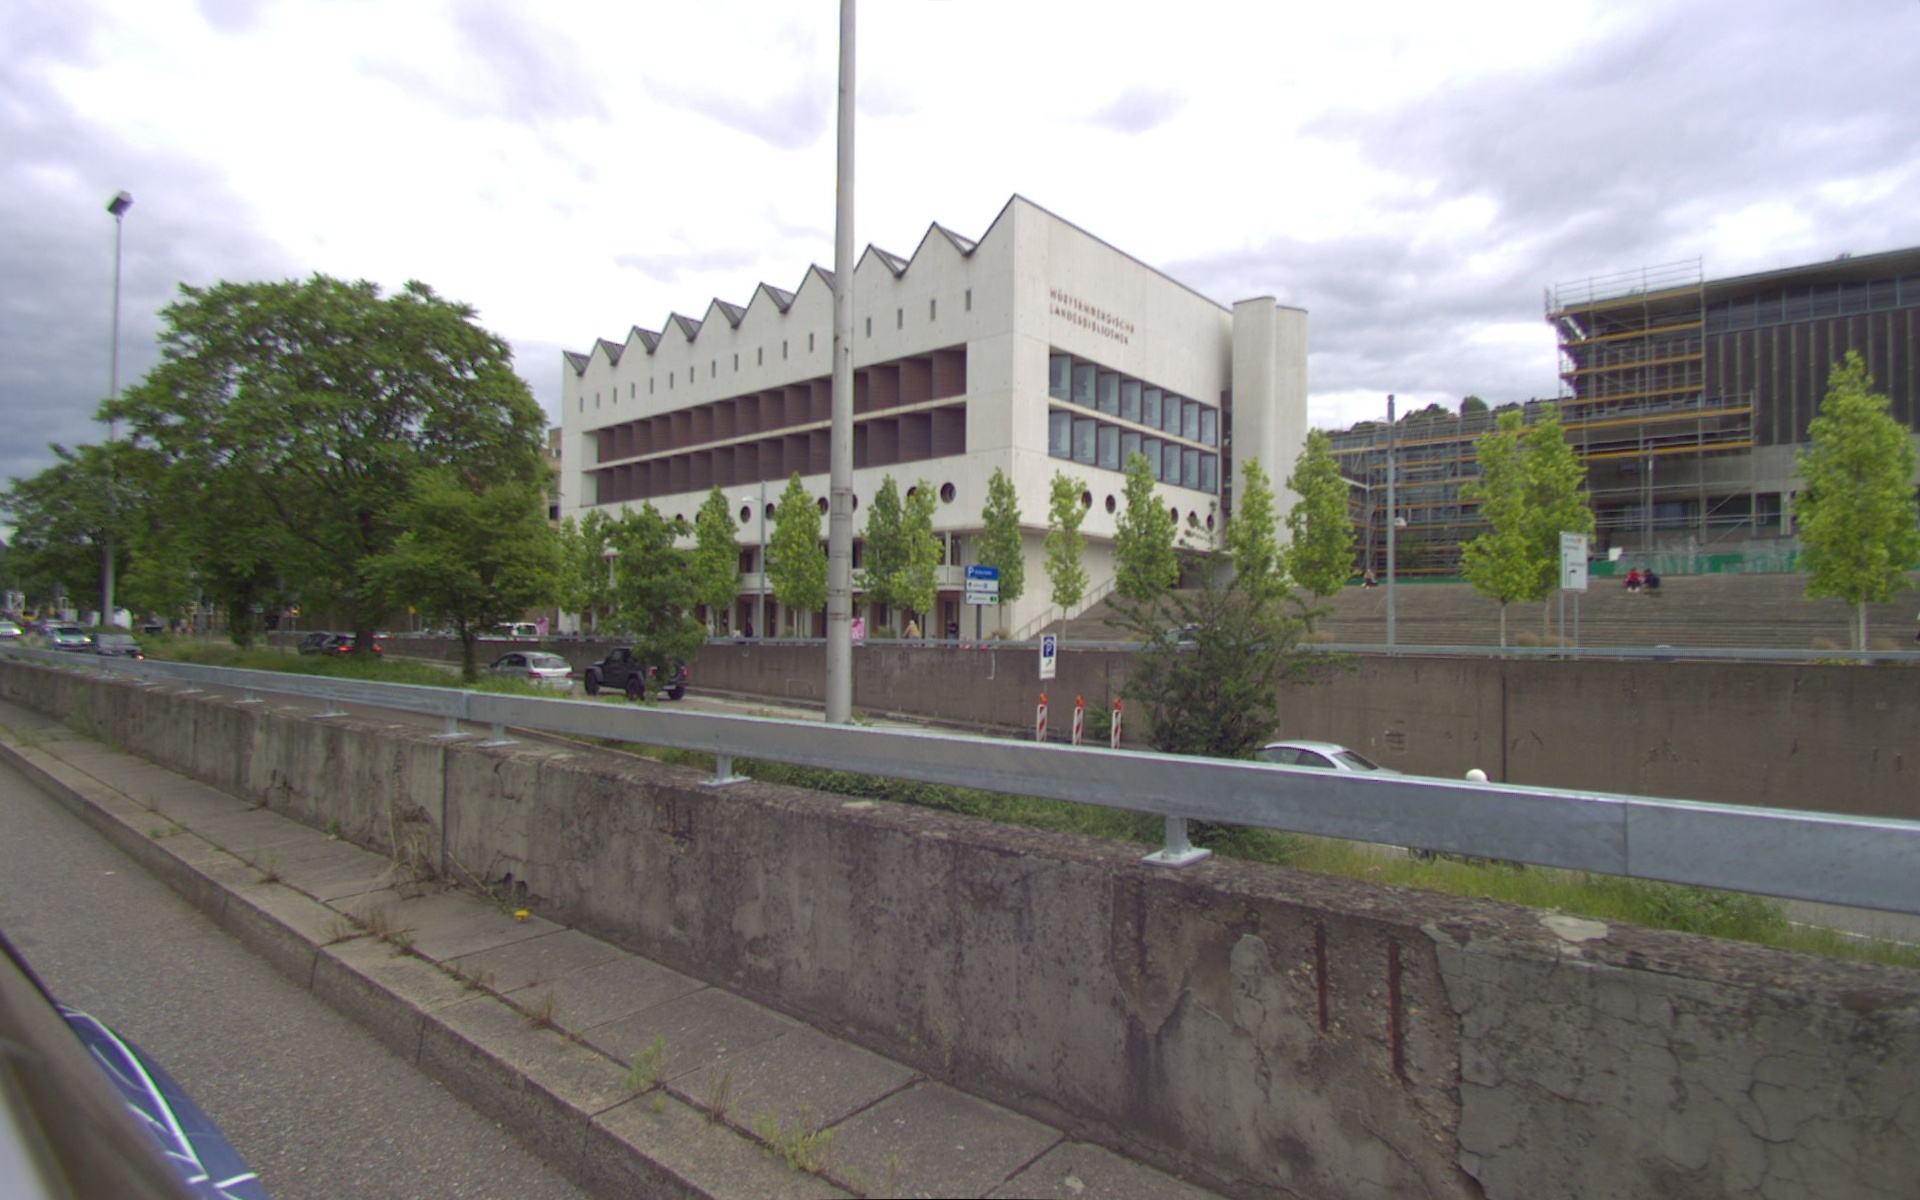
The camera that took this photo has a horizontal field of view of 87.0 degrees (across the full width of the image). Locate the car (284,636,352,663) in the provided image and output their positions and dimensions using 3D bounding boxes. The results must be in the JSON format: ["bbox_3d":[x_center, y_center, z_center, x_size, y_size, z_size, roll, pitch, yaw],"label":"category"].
[{"bbox_3d":[-35.869,2.771,56.547,3.995,1.409,1.974,-1,-5,39],"label":"car"}]

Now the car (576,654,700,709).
[{"bbox_3d":[-11.707,2.927,36.660,4.514,1.657,2.133,1,-3,40],"label":"car"}]

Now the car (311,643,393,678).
[{"bbox_3d":[-27.471,2.725,45.663,3.998,1.409,1.973,-1,-5,41],"label":"car"}]

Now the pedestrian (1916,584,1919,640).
[{"bbox_3d":[31.488,0.470,32.486,0.728,2.029,0.795,-1,-3,-14],"label":"pedestrian"}]

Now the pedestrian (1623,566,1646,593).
[{"bbox_3d":[29.081,-0.882,43.626,0.767,0.949,0.719,-3,21,35],"label":"pedestrian"}]

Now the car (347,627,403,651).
[{"bbox_3d":[-41.634,2.727,72.026,4.485,1.640,1.931,-1,-2,38],"label":"car"}]

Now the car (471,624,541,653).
[{"bbox_3d":[-26.897,2.266,59.870,4.485,1.640,1.931,-1,-2,38],"label":"car"}]

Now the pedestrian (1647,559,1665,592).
[{"bbox_3d":[29.657,-1.036,43.137,0.623,1.248,0.665,-1,21,35],"label":"pedestrian"}]

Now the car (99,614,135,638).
[{"bbox_3d":[-66.732,2.042,80.092,3.999,1.868,1.588,-1,0,42],"label":"car"}]

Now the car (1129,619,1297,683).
[{"bbox_3d":[7.190,1.436,28.934,4.272,1.595,1.818,0,-4,41],"label":"car"}]

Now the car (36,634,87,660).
[{"bbox_3d":[-50.837,2.627,57.261,4.088,1.425,1.539,-1,-2,39],"label":"car"}]

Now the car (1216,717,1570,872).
[{"bbox_3d":[6.395,2.761,15.245,4.515,1.687,1.973,-1,-5,41],"label":"car"}]

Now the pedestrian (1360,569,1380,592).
[{"bbox_3d":[20.961,-0.997,51.760,0.767,0.951,0.718,1,21,34],"label":"pedestrian"}]

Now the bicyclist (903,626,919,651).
[{"bbox_3d":[-2.373,1.878,49.112,0.643,1.169,0.398,-1,0,39],"label":"bicyclist"}]

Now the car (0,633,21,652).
[{"bbox_3d":[-74.547,3.319,78.769,4.089,1.425,1.635,-1,-2,41],"label":"car"}]

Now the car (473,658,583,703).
[{"bbox_3d":[-15.194,2.811,35.518,3.998,1.409,1.973,-1,-5,41],"label":"car"}]

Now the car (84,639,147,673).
[{"bbox_3d":[-38.902,2.555,46.586,4.089,1.425,1.539,-1,-2,41],"label":"car"}]

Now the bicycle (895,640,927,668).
[{"bbox_3d":[-2.377,2.608,49.121,1.697,1.282,0.398,-1,0,40],"label":"bicycle"}]
